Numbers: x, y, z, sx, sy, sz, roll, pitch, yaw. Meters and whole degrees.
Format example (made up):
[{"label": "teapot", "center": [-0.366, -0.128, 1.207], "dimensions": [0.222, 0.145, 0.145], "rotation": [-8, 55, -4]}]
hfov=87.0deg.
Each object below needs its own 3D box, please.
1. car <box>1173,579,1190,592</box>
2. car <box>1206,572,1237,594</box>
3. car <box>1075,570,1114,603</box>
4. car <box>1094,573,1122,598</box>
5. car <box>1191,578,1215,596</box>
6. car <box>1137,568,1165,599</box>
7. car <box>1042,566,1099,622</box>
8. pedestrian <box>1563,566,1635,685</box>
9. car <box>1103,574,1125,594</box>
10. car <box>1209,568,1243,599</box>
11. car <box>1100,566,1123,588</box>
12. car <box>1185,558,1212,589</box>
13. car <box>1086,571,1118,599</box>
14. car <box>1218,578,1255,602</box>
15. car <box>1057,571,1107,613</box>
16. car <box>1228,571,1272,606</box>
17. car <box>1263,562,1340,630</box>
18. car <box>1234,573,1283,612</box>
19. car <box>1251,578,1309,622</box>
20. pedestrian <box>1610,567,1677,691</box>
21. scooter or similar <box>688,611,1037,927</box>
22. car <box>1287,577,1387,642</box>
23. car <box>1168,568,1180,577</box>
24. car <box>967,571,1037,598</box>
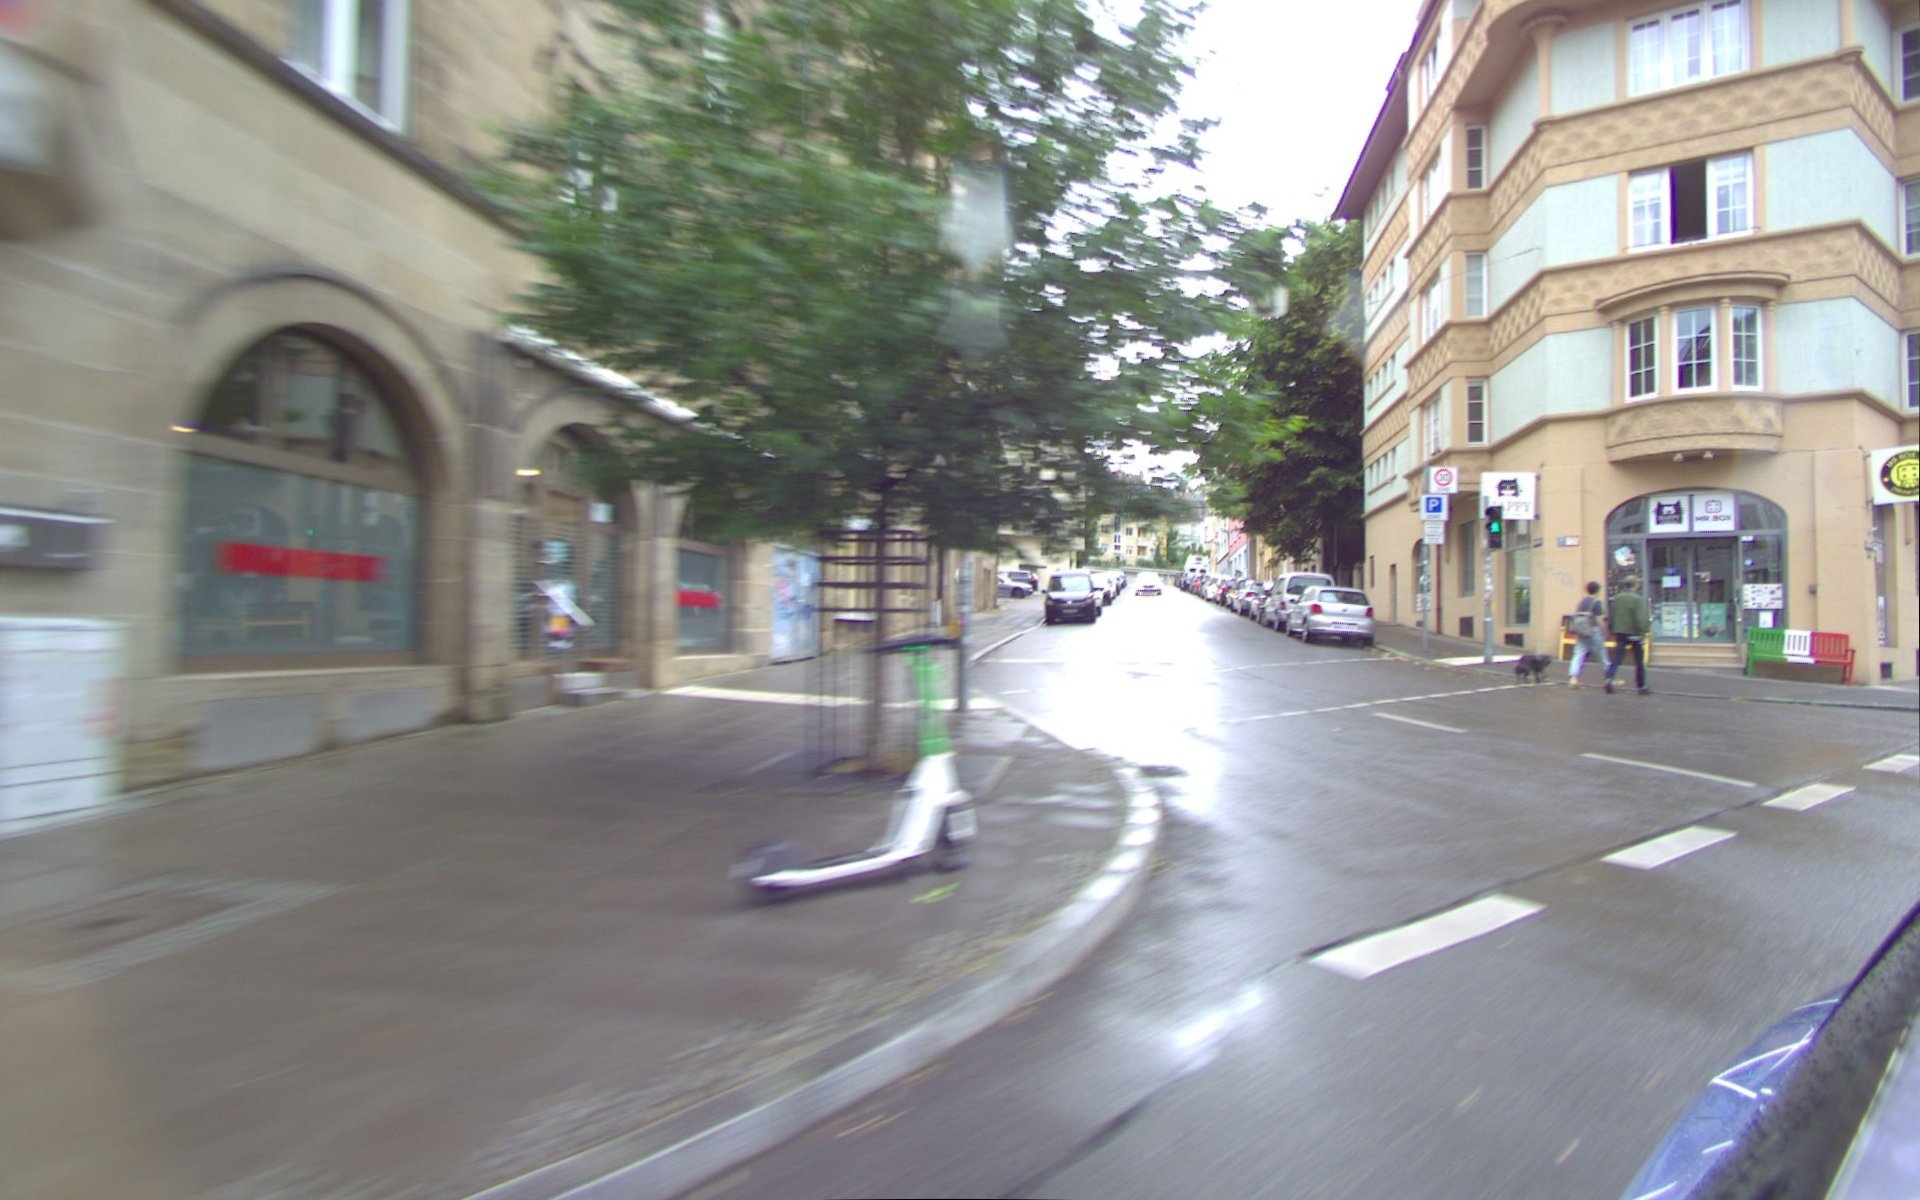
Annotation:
[{"label": "car", "center": [22.040, -1.456, 100.868], "dimensions": [1.423, 1.187, 3.276], "rotation": [-2, 0, 9]}, {"label": "car", "center": [15.341, -0.990, 59.408], "dimensions": [1.423, 1.187, 3.276], "rotation": [-2, 0, 9]}, {"label": "car", "center": [6.952, -0.705, 52.085], "dimensions": [1.718, 1.528, 3.988], "rotation": [-4, 0, 10]}, {"label": "car", "center": [10.401, -1.010, 71.039], "dimensions": [1.718, 1.528, 3.988], "rotation": [-4, 0, 10]}, {"label": "car", "center": [17.796, -0.960, 74.315], "dimensions": [1.423, 1.187, 3.276], "rotation": [-2, 0, 9]}, {"label": "car", "center": [12.734, -1.104, 67.626], "dimensions": [1.718, 1.896, 3.988], "rotation": [-4, 0, 10]}, {"label": "car", "center": [3.918, -0.247, 35.306], "dimensions": [1.717, 1.747, 4.347], "rotation": [-3, 1, 9]}, {"label": "pedestrian", "center": [10.040, 0.383, 15.895], "dimensions": [0.885, 1.811, 0.683], "rotation": [1, 1, -39]}, {"label": "car", "center": [13.755, -1.440, 90.281], "dimensions": [1.718, 1.660, 3.988], "rotation": [-4, 0, 10]}, {"label": "car", "center": [14.594, -0.915, 55.699], "dimensions": [1.423, 1.594, 3.276], "rotation": [-2, 0, 9]}, {"label": "car", "center": [12.795, -1.918, 85.320], "dimensions": [1.718, 1.660, 3.988], "rotation": [-4, 0, 10]}, {"label": "car", "center": [20.026, -2.211, 85.161], "dimensions": [1.918, 2.489, 3.802], "rotation": [1, 0, 9]}, {"label": "car", "center": [8.745, -0.931, 61.952], "dimensions": [1.718, 1.528, 3.988], "rotation": [-4, 0, 10]}, {"label": "car", "center": [13.799, -0.504, 50.692], "dimensions": [1.423, 1.139, 3.069], "rotation": [-2, 0, 9]}, {"label": "car", "center": [4.968, -0.326, 40.902], "dimensions": [1.718, 1.528, 3.988], "rotation": [-4, 0, 10]}, {"label": "car", "center": [12.729, -0.504, 44.613], "dimensions": [1.423, 1.443, 3.290], "rotation": [-2, 0, 9]}, {"label": "car", "center": [10.287, -0.123, 30.694], "dimensions": [1.579, 1.867, 3.545], "rotation": [-2, 0, 9]}, {"label": "car", "center": [12.024, -0.297, 40.888], "dimensions": [1.423, 1.443, 3.290], "rotation": [-2, 0, 9]}, {"label": "car", "center": [11.081, -0.009, 35.181], "dimensions": [1.423, 1.443, 3.290], "rotation": [0, 0, 9]}, {"label": "pedestrian", "center": [10.318, 0.421, 15.278], "dimensions": [0.875, 1.811, 0.595], "rotation": [1, 1, -39]}, {"label": "scooter or similar", "center": [-0.409, 0.671, 4.715], "dimensions": [1.525, 1.225, 0.639], "rotation": [1, 0, -40]}, {"label": "car", "center": [9.575, 0.206, 25.948], "dimensions": [1.663, 1.478, 3.525], "rotation": [3, 1, 9]}, {"label": "car", "center": [30.414, -3.914, 143.692], "dimensions": [1.423, 1.187, 3.276], "rotation": [-2, 0, 9]}, {"label": "car", "center": [2.531, -0.897, 60.902], "dimensions": [3.939, 1.502, 1.736], "rotation": [-1, -1, 13]}]
